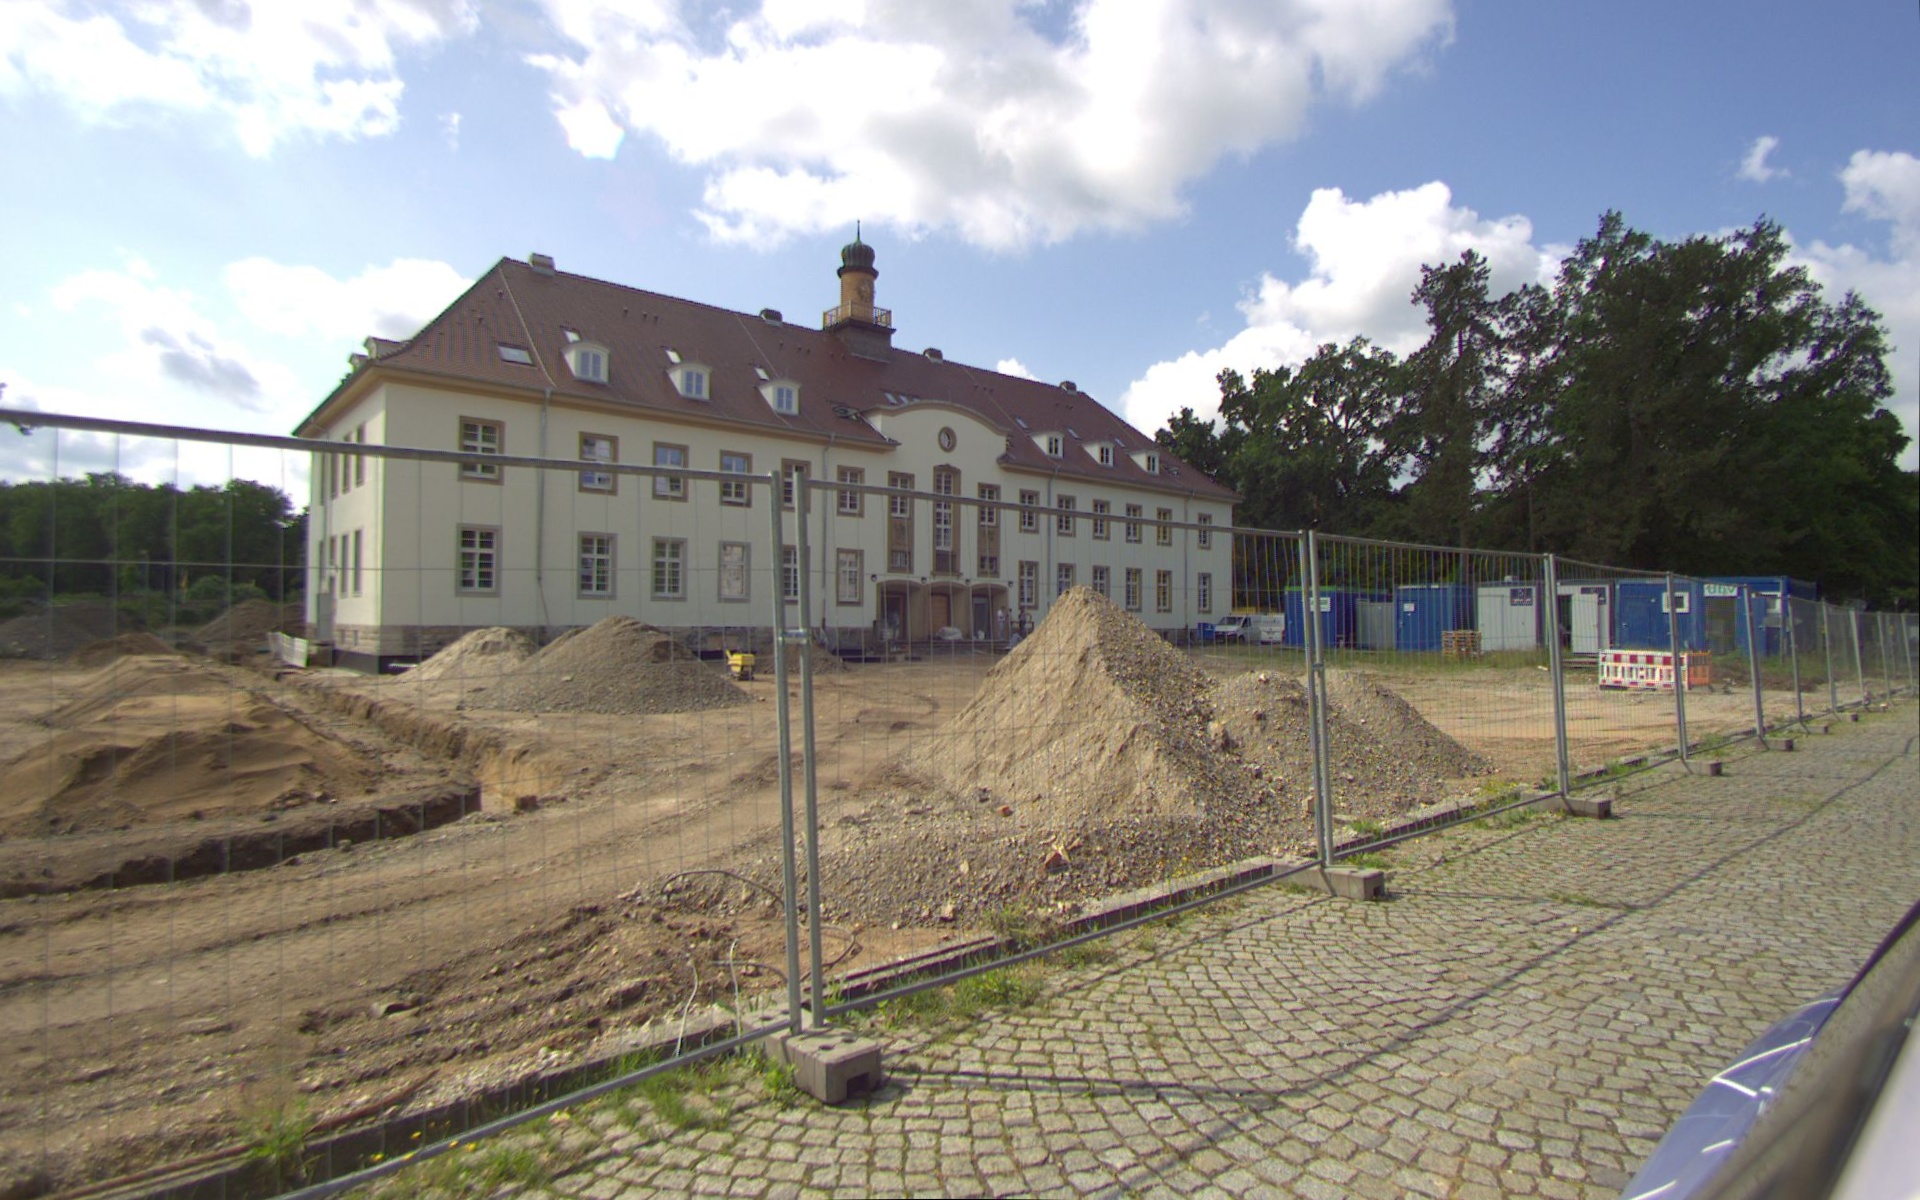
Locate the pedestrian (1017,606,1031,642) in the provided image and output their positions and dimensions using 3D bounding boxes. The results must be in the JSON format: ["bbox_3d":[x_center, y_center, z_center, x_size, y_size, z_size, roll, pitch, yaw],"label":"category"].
[{"bbox_3d":[3.235,1.199,51.067,0.498,1.811,0.490,2,-3,-44],"label":"pedestrian"}]

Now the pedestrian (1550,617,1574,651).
[{"bbox_3d":[22.818,1.286,38.366,0.671,1.259,0.602,2,-3,-42],"label":"pedestrian"}]

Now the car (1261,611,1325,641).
[{"bbox_3d":[19.577,1.510,59.457,3.967,1.705,1.801,1,-1,-40],"label":"car"}]

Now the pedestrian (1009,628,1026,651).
[{"bbox_3d":[2.799,1.910,49.015,0.697,1.129,0.490,2,-3,-43],"label":"pedestrian"}]

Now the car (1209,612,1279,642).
[{"bbox_3d":[17.329,1.607,61.704,4.624,1.750,1.883,1,-1,-40],"label":"car"}]

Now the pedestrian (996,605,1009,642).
[{"bbox_3d":[2.095,1.180,50.199,0.496,1.811,0.492,1,-2,-18],"label":"pedestrian"}]
